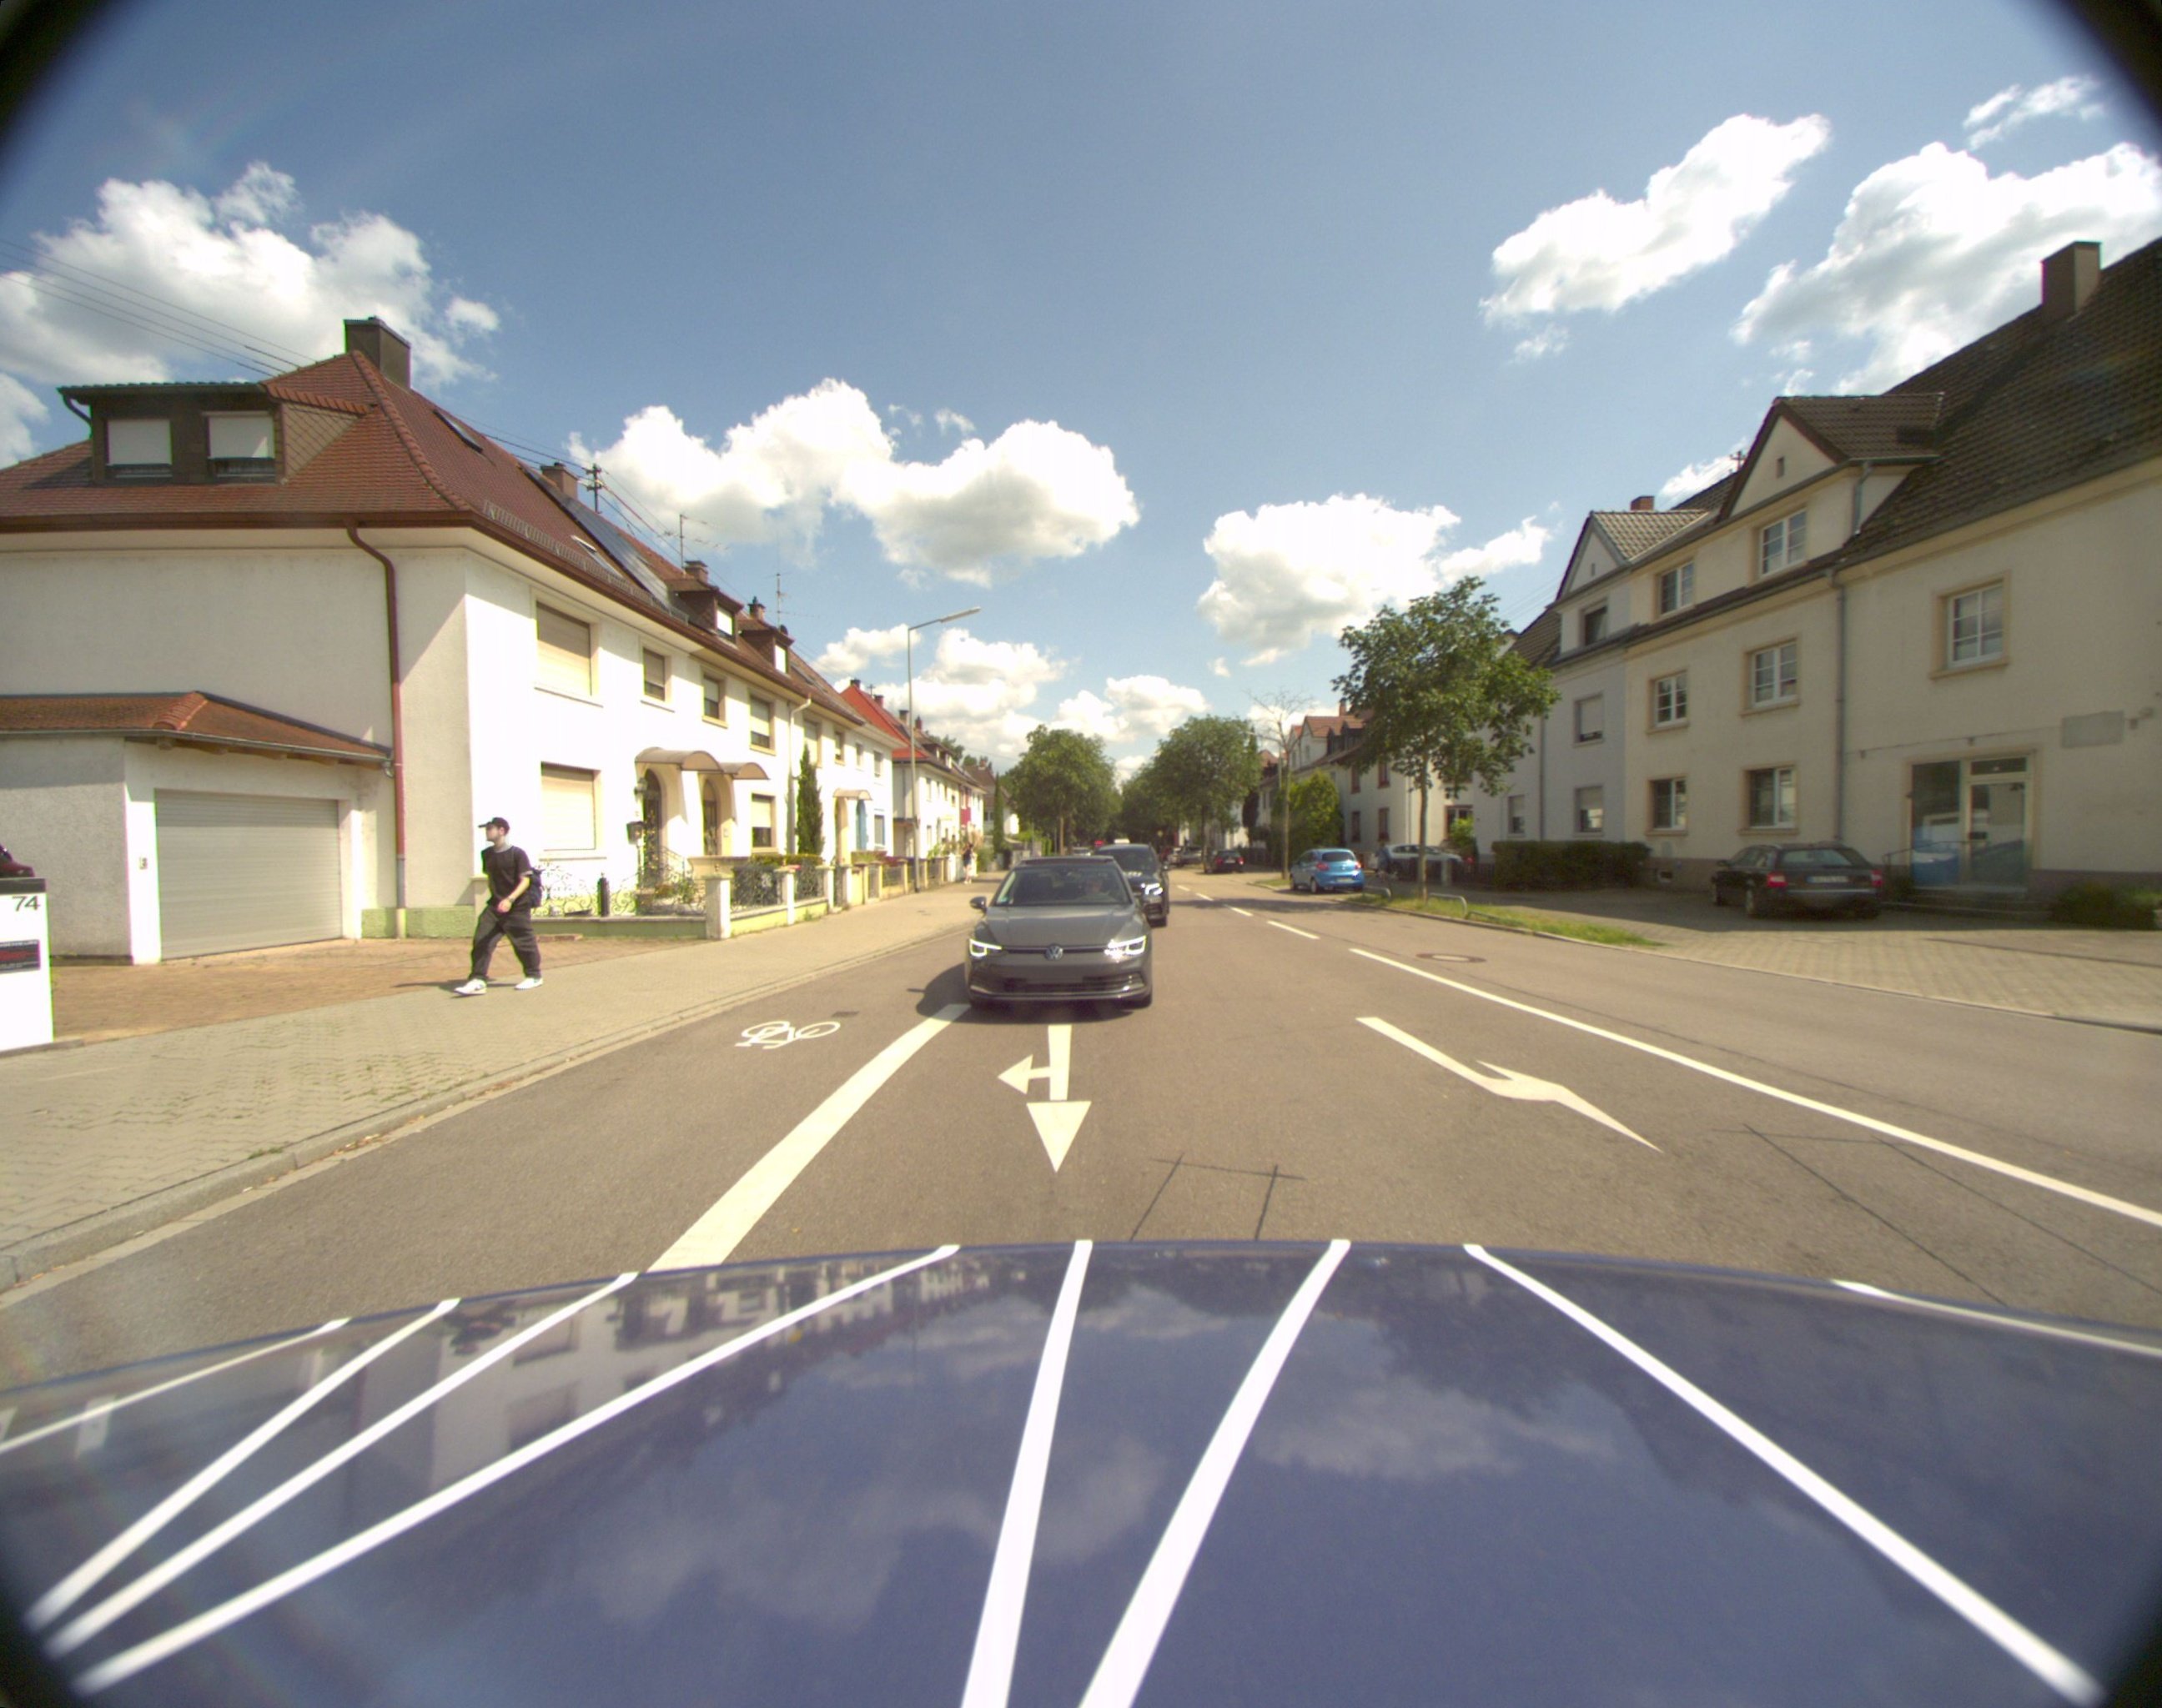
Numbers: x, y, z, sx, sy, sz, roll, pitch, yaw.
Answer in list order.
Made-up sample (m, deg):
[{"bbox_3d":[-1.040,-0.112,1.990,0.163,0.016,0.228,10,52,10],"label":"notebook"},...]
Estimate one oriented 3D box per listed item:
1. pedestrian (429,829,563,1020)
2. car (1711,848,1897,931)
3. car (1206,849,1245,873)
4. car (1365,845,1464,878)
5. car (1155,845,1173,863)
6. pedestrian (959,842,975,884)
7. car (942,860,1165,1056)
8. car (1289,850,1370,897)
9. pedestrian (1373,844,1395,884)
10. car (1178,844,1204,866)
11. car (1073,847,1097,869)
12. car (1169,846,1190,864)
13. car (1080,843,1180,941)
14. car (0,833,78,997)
[{"bbox_3d":[-5.784,0.648,7.534,0.591,1.758,0.939,1,1,42],"label":"pedestrian"},{"bbox_3d":[14.088,0.589,15.094,1.757,1.378,4.110,0,1,30],"label":"car"},{"bbox_3d":[8.205,0.371,43.509,1.709,1.289,3.918,0,1,3],"label":"car"},{"bbox_3d":[15.174,0.307,34.699,3.805,1.446,1.711,0,1,3],"label":"car"},{"bbox_3d":[7.883,-0.003,72.499,1.562,1.645,3.251,0,1,3],"label":"car"},{"bbox_3d":[-4.558,0.354,30.442,0.519,1.701,0.618,0,1,2],"label":"pedestrian"},{"bbox_3d":[-0.287,0.851,8.426,1.767,1.466,4.686,-1,1,-2],"label":"car"},{"bbox_3d":[8.302,0.602,25.662,1.709,1.454,3.154,0,1,0],"label":"car"},{"bbox_3d":[11.818,0.391,29.618,0.632,1.527,0.618,0,1,2],"label":"pedestrian"},{"bbox_3d":[8.281,0.059,57.405,1.562,1.645,3.573,0,1,3],"label":"car"},{"bbox_3d":[0.309,0.245,53.842,1.381,1.493,3.002,-1,1,6],"label":"car"},{"bbox_3d":[8.214,0.092,63.463,1.623,1.417,3.002,-1,1,6],"label":"car"},{"bbox_3d":[0.901,0.656,16.109,1.776,1.754,4.873,0,1,0],"label":"car"},{"bbox_3d":[-13.189,0.651,7.574,3.996,1.698,1.868,0,1,3],"label":"car"}]
